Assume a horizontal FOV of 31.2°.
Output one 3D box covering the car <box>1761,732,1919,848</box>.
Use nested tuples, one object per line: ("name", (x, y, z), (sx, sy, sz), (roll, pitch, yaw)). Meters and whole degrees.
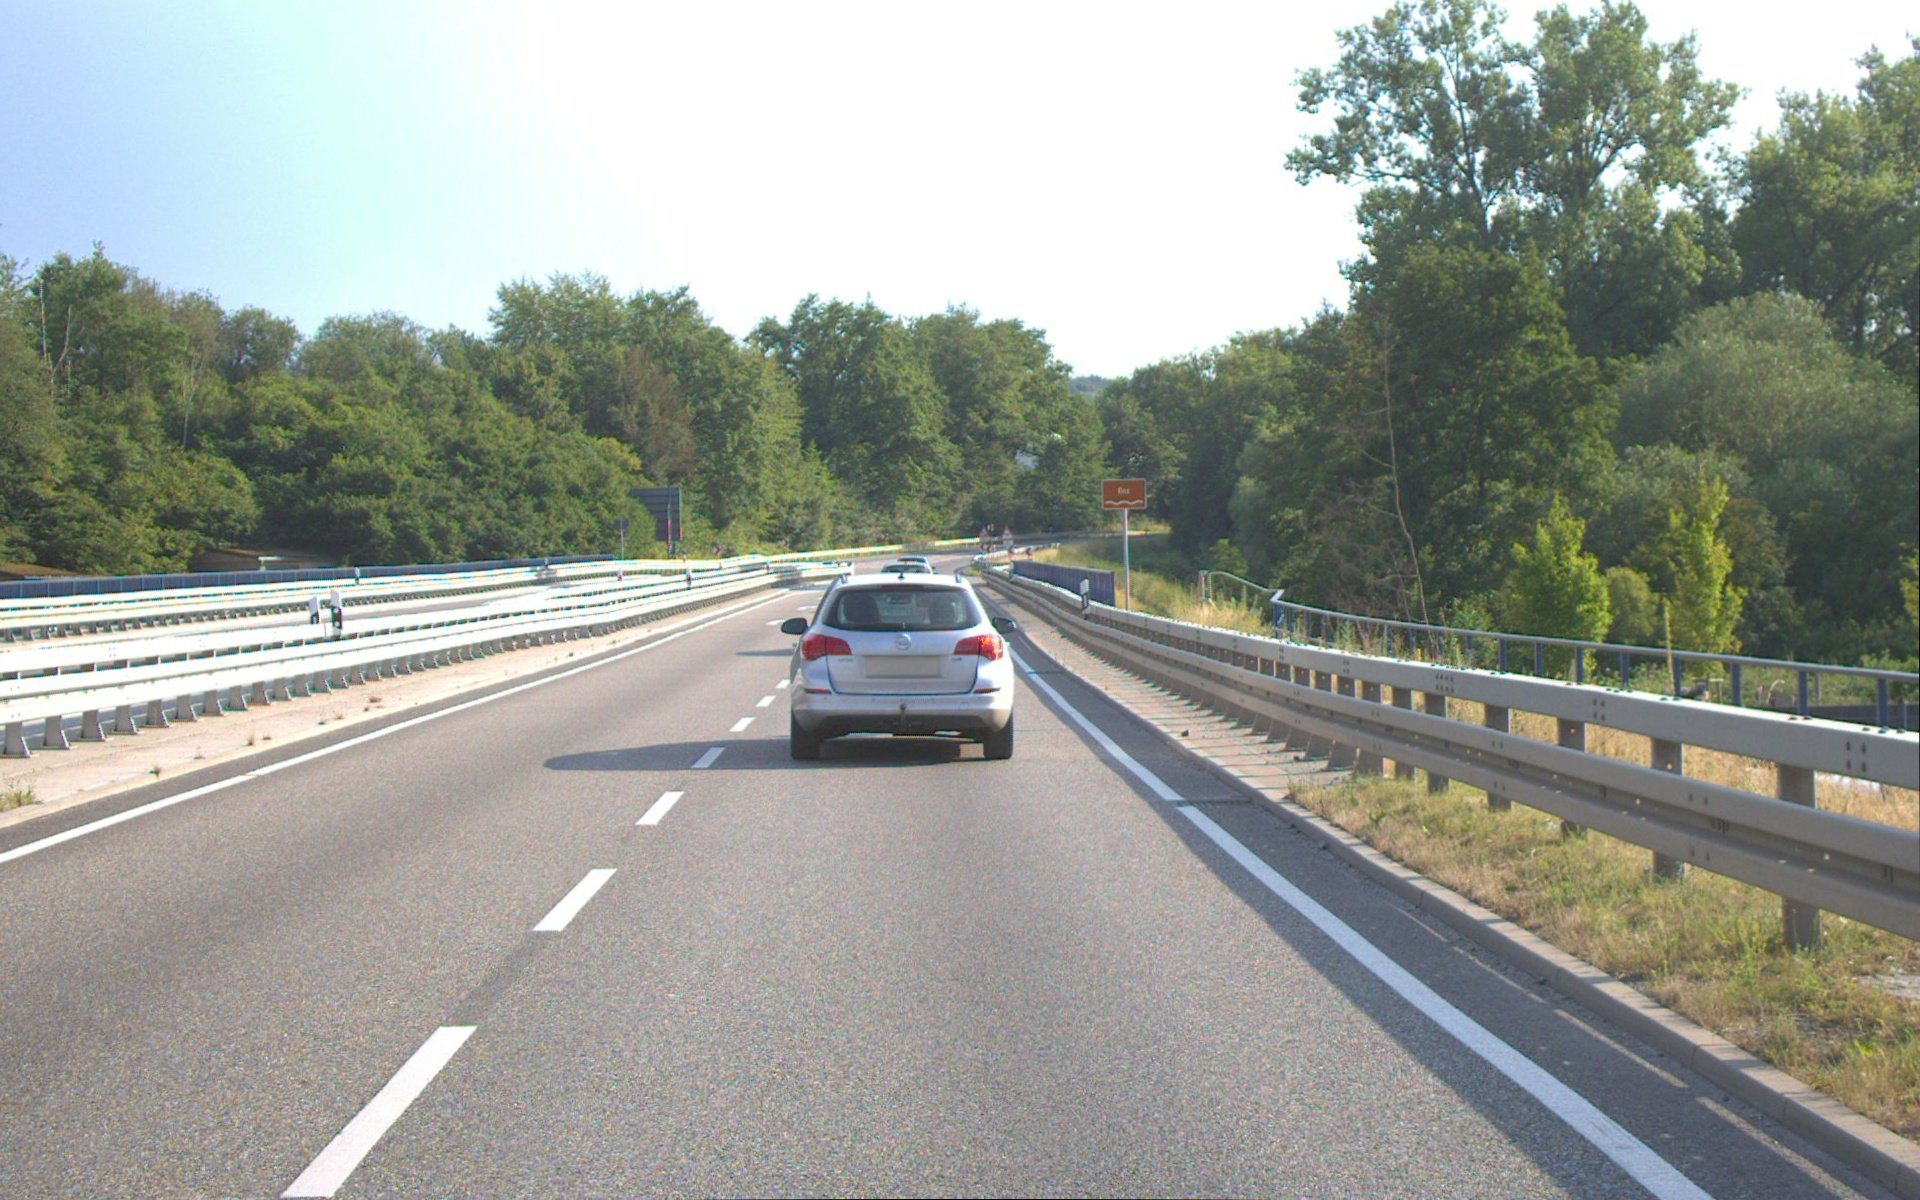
("car", (13.029, 2.766, 50.761), (1.706, 1.459, 3.999), (0, 0, 4))

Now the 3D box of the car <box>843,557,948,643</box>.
("car", (-1.157, -0.014, 61.554), (1.809, 1.481, 4.000), (0, 0, -1))

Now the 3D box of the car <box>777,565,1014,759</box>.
("car", (-0.532, 0.466, 28.408), (1.809, 1.481, 4.000), (0, 0, -1))
